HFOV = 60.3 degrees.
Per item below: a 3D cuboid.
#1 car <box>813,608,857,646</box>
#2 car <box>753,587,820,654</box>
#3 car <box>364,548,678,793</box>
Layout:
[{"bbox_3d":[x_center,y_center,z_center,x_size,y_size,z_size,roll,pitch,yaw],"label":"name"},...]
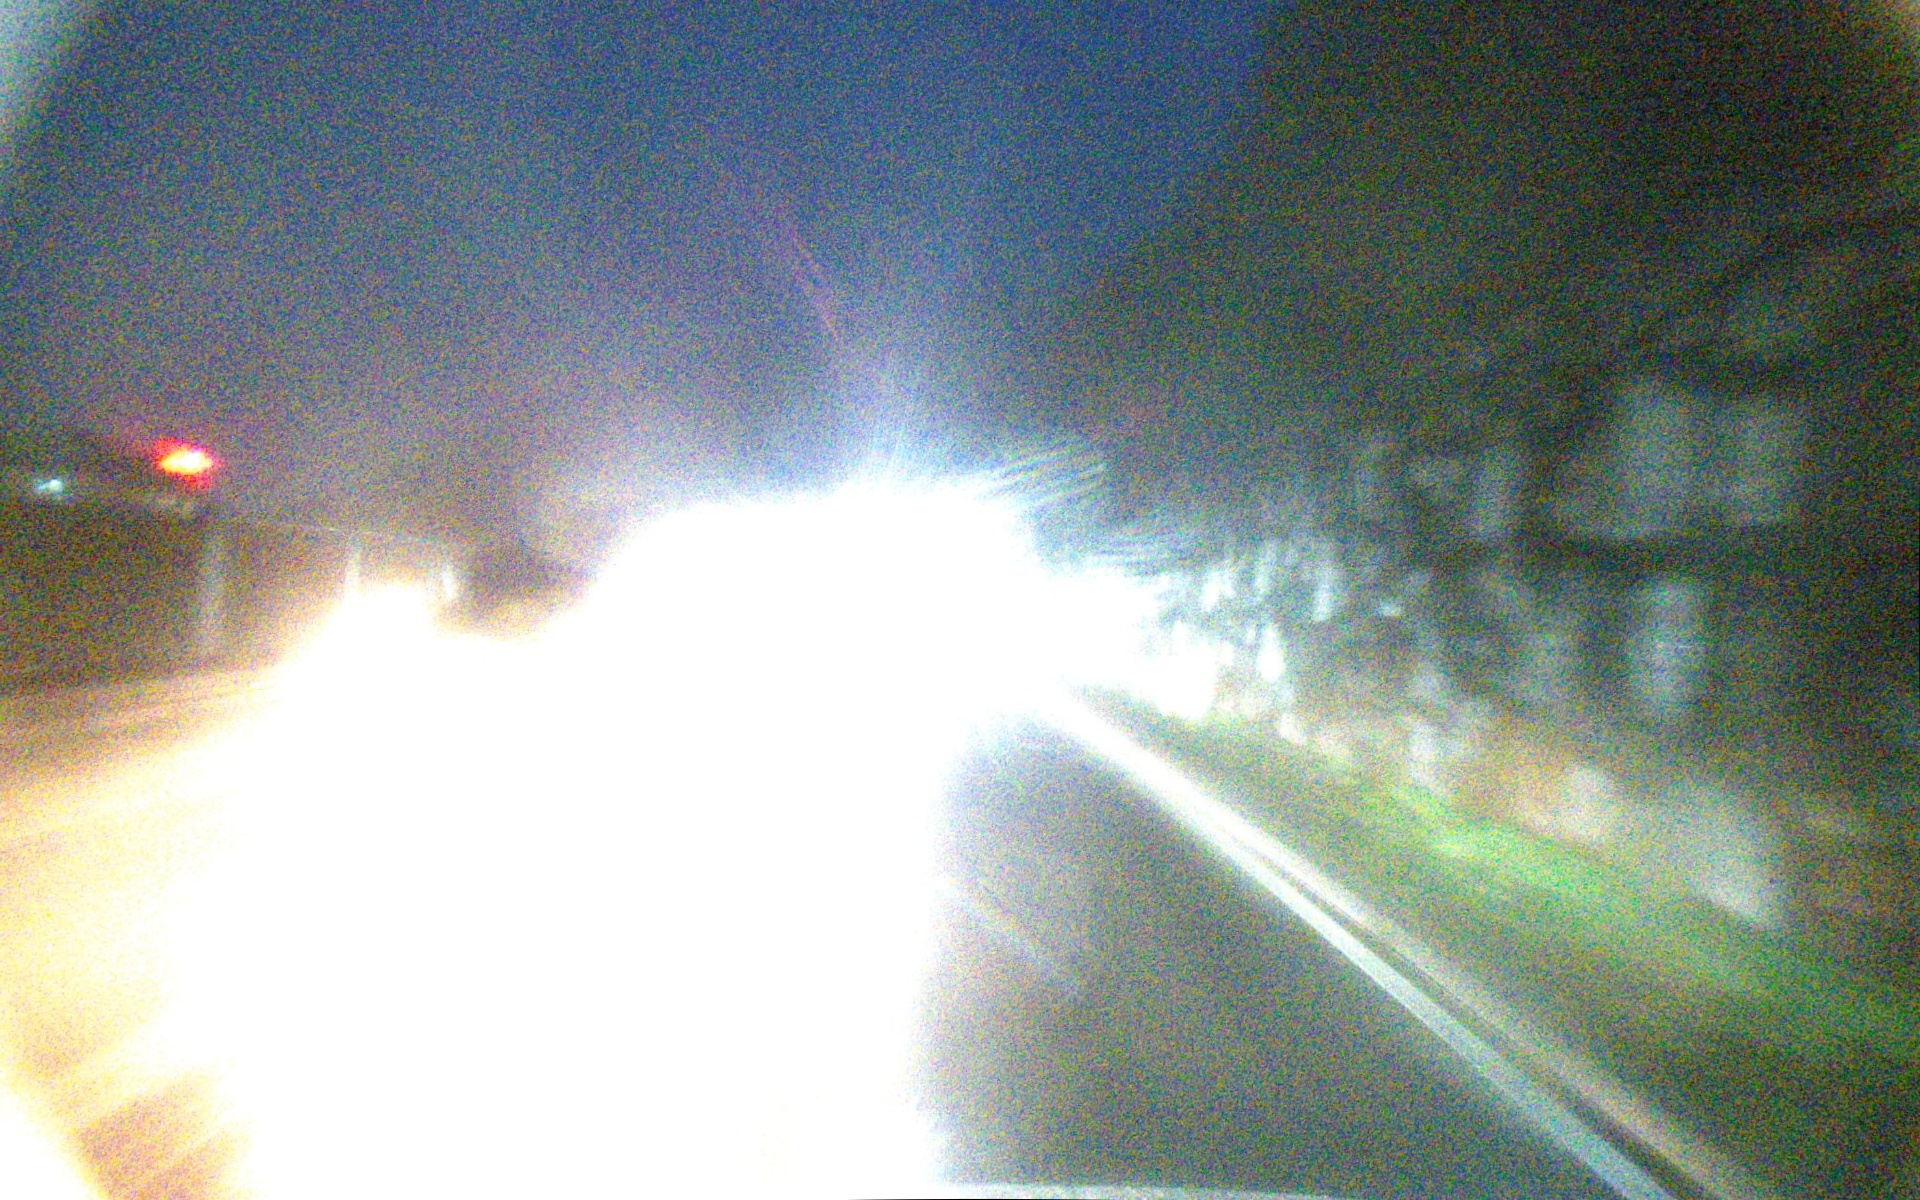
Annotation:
[{"bbox_3d":[-5.711,1.216,75.818,1.847,1.603,4.047,1,0,-3],"label":"car"},{"bbox_3d":[-5.041,0.568,48.523,1.707,1.855,3.876,1,0,-3],"label":"car"},{"bbox_3d":[-3.571,0.517,14.164,1.707,1.790,3.877,1,0,-1],"label":"car"}]
